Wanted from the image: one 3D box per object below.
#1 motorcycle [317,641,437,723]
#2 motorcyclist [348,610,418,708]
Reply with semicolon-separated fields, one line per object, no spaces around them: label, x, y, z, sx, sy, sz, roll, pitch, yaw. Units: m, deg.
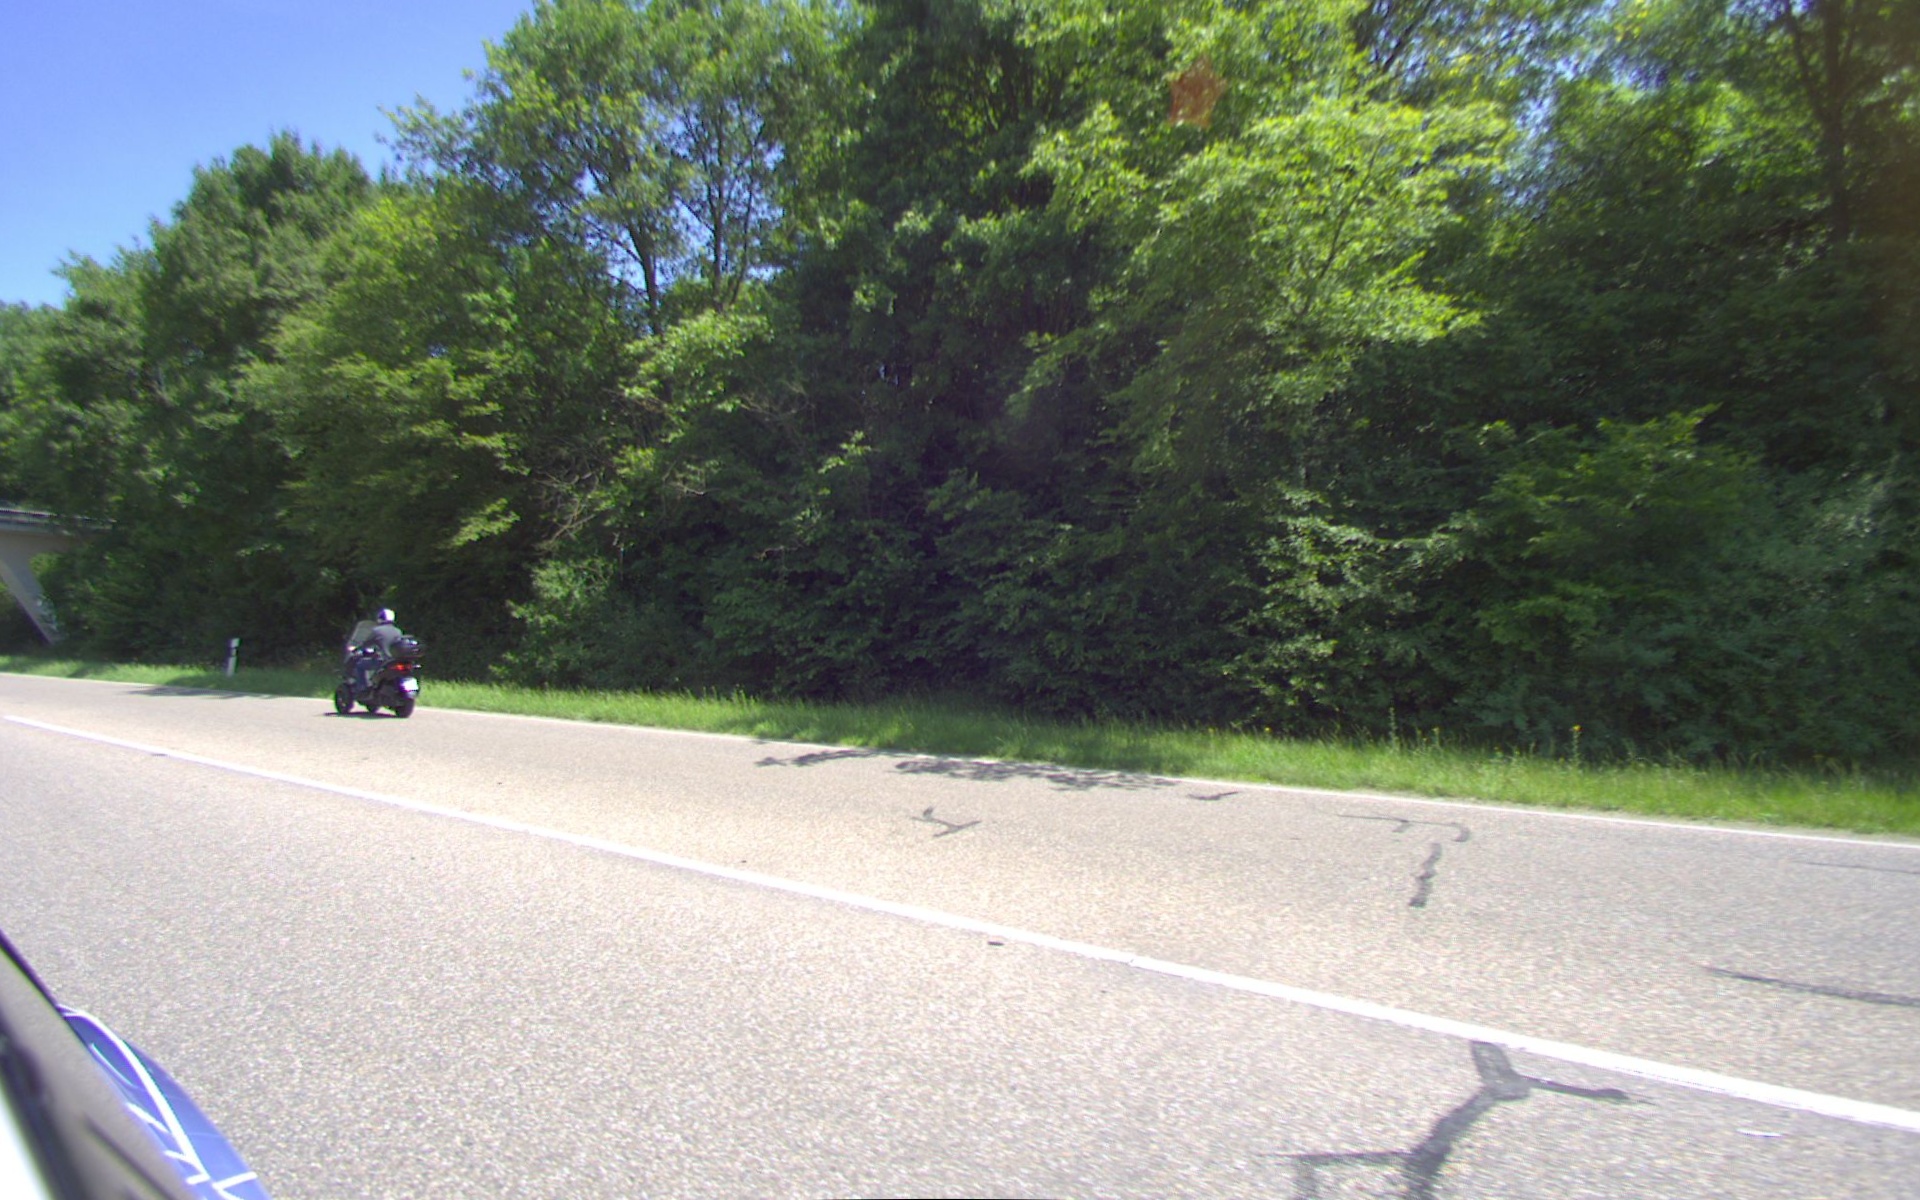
motorcycle;-9.141;1.244;15.833;2.224;1.183;0.665;-1;-1;32
motorcyclist;-8.981;0.897;15.754;0.811;1.486;0.664;-1;-1;33
